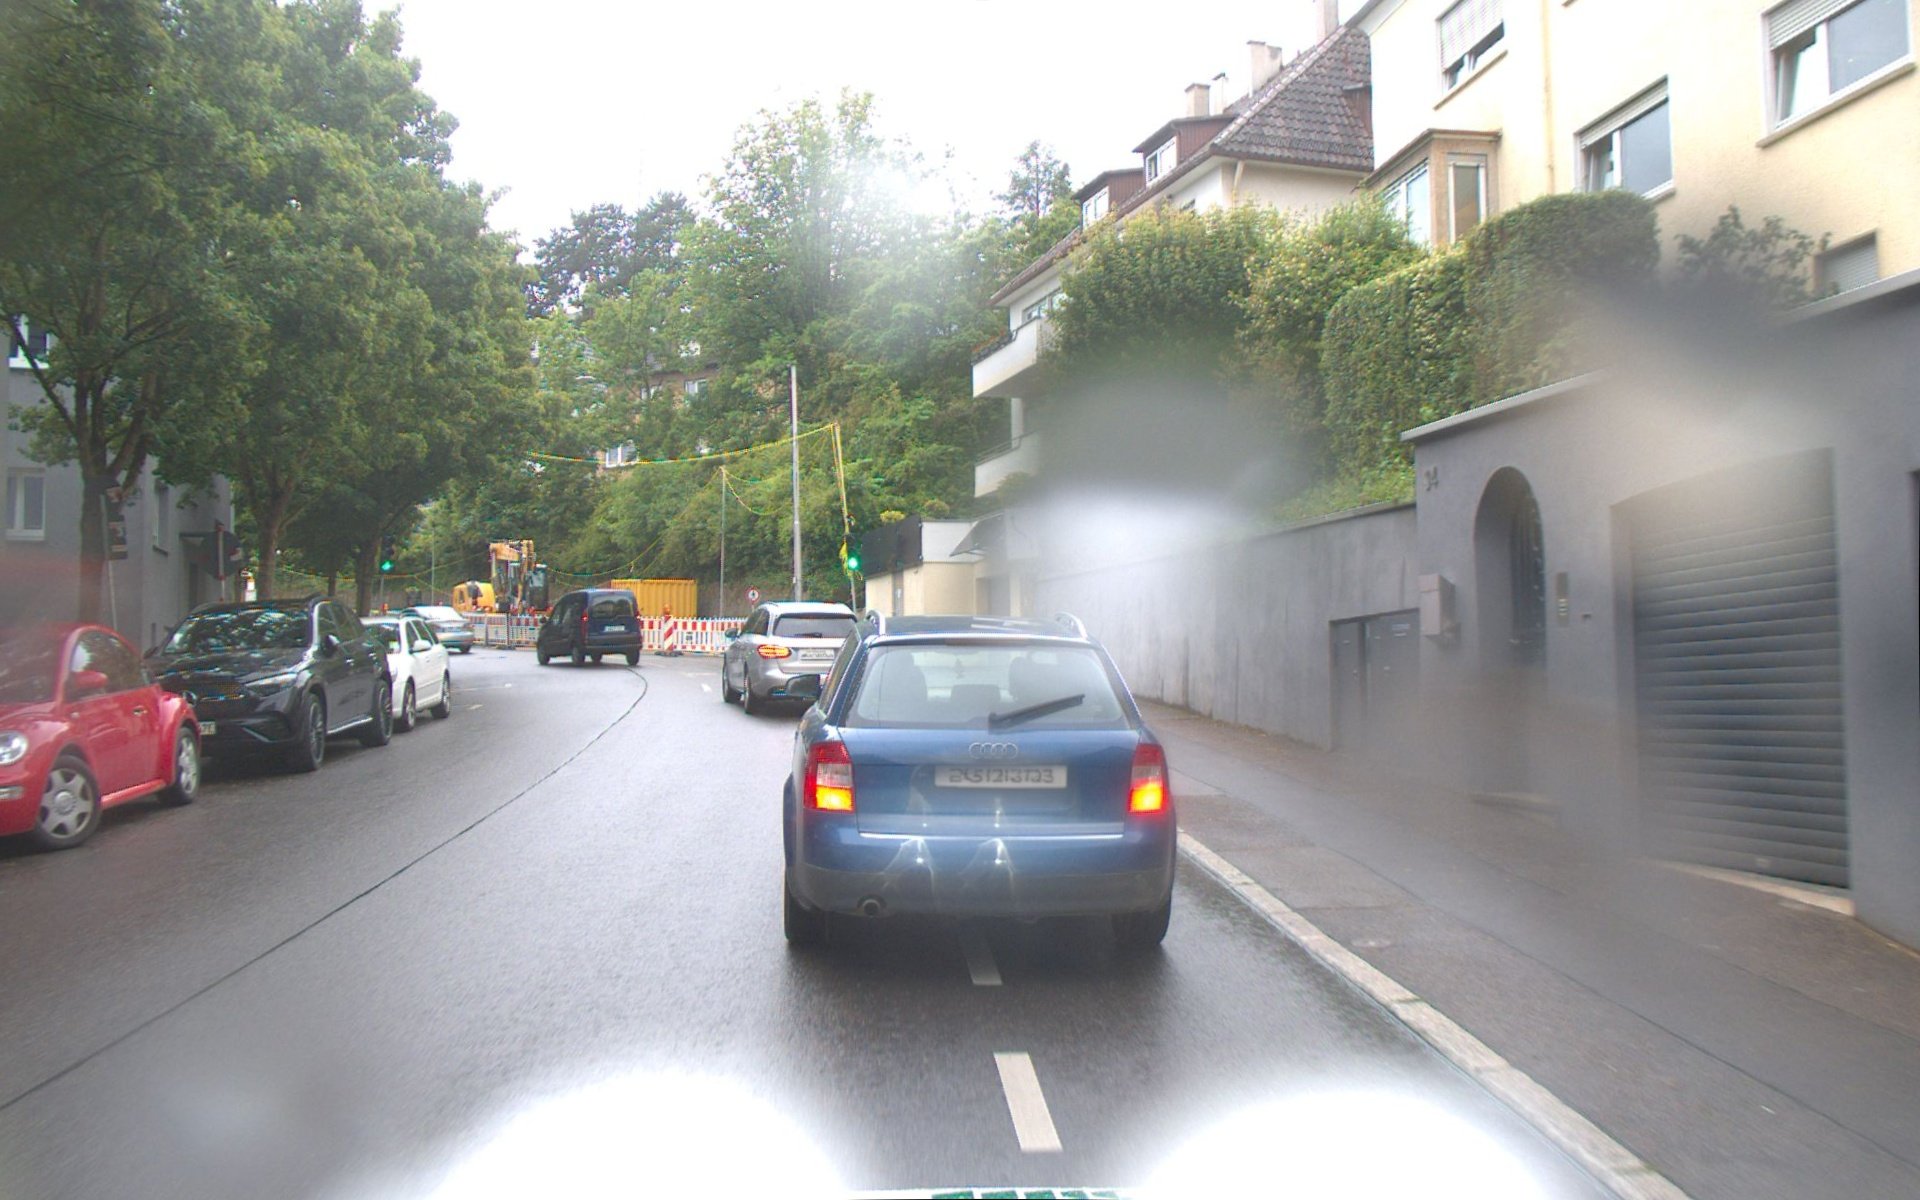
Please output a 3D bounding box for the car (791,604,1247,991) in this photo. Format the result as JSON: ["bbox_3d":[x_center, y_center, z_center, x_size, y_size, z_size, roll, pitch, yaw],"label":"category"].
[{"bbox_3d":[0.041,0.771,8.340,1.751,1.467,3.958,1,0,-6],"label":"car"}]

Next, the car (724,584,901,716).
[{"bbox_3d":[-2.162,0.619,23.139,1.893,1.646,4.306,-1,0,-13],"label":"car"}]

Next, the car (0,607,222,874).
[{"bbox_3d":[-6.689,0.955,11.780,1.603,1.592,3.839,-5,-1,-10],"label":"car"}]

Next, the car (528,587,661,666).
[{"bbox_3d":[-9.194,0.654,41.393,1.976,1.825,3.954,-2,0,-33],"label":"car"}]

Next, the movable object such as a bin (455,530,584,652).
[{"bbox_3d":[-15.952,-0.328,59.511,2.789,4.084,7.255,0,0,-29],"label":"movable object such as a bin"}]

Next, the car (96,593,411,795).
[{"bbox_3d":[-7.048,0.826,17.032,1.650,1.636,4.569,-5,1,-7],"label":"car"}]

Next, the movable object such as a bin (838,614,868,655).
[{"bbox_3d":[-2.812,0.899,43.601,0.706,1.050,0.590,-1,0,-11],"label":"movable object such as a bin"}]

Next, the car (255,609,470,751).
[{"bbox_3d":[-7.798,0.970,21.996,1.650,1.534,4.309,-4,1,-7],"label":"car"}]

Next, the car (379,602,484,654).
[{"bbox_3d":[-16.443,0.883,51.378,1.710,1.512,4.017,-2,0,-40],"label":"car"}]
